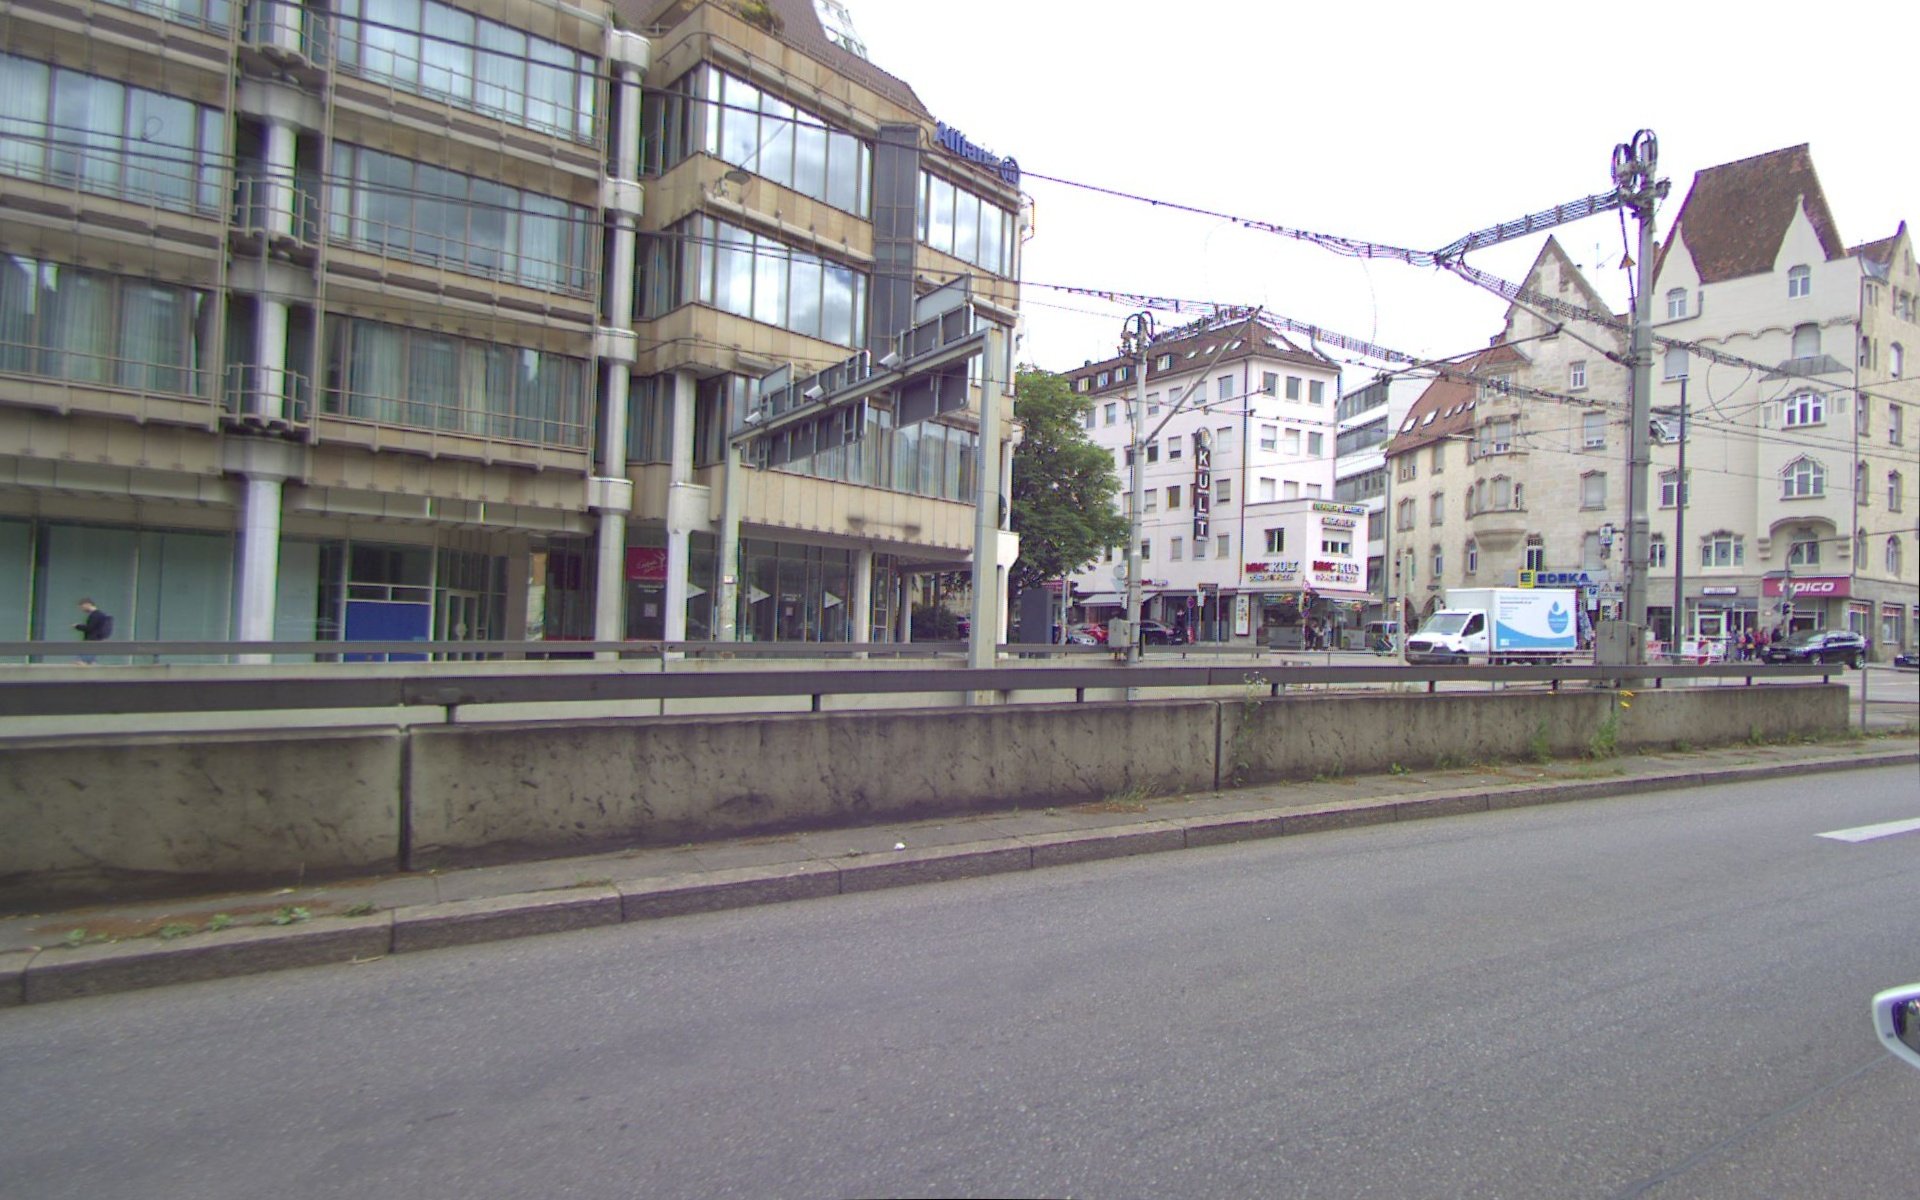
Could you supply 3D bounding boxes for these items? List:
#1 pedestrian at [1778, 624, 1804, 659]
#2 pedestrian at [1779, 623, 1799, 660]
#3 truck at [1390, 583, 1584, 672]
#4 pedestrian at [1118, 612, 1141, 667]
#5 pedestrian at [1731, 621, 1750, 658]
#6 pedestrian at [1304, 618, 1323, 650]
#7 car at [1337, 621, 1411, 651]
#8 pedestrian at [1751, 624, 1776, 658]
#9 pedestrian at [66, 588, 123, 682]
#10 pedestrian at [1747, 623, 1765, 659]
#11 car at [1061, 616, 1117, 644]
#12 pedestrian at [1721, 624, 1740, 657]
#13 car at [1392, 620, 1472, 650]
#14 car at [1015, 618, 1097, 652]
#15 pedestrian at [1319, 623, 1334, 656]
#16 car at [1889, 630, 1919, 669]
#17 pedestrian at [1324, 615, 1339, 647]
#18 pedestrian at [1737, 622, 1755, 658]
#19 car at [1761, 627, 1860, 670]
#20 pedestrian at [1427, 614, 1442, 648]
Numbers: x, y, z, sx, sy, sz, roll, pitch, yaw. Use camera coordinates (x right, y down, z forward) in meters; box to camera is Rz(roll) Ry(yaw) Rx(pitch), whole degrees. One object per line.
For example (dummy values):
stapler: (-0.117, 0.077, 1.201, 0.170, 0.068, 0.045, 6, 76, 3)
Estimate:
pedestrian: (41.514, 2.055, 50.183, 0.712, 1.728, 0.781, 1, -1, -21)
pedestrian: (41.462, 2.077, 50.218, 0.565, 1.803, 0.512, 1, -1, 4)
truck: (19.759, 1.059, 37.602, 7.268, 3.117, 2.262, 2, 0, -23)
pedestrian: (5.685, 1.321, 33.687, 0.569, 1.803, 0.508, 1, -1, -25)
pedestrian: (39.115, 1.972, 50.367, 0.504, 1.803, 0.574, 1, -1, -22)
pedestrian: (19.470, 1.887, 55.352, 0.643, 1.728, 0.781, 1, -1, -21)
car: (25.461, 2.194, 61.894, 1.727, 1.581, 4.497, 2, 0, -17)
pedestrian: (41.562, 2.120, 51.964, 0.643, 1.728, 0.781, 1, -1, -21)
pedestrian: (-17.355, 0.688, 20.158, 0.732, 1.836, 0.726, 2, 0, -32)
pedestrian: (40.283, 2.060, 50.860, 0.569, 1.803, 0.508, 1, -1, -25)
car: (8.267, 1.936, 64.710, 1.632, 1.734, 3.618, 1, -1, -32)
pedestrian: (38.362, 2.017, 49.998, 0.505, 1.603, 0.573, 1, -1, -26)
car: (28.449, 2.106, 60.701, 1.727, 1.581, 4.495, 2, 0, -18)
car: (4.968, 1.801, 52.397, 1.936, 1.550, 3.951, 2, 0, -42)
pedestrian: (20.169, 2.172, 55.312, 0.567, 1.803, 0.510, 1, -1, -15)
car: (40.864, 2.053, 41.689, 4.469, 1.573, 1.654, 1, -1, -22)
pedestrian: (21.171, 1.766, 57.285, 0.588, 1.803, 0.510, 1, -1, -15)
pedestrian: (39.642, 2.032, 50.673, 0.568, 1.803, 0.509, 1, -1, -20)
car: (37.993, 2.180, 44.854, 4.721, 1.782, 1.667, 2, 0, -27)
pedestrian: (25.223, 1.654, 53.425, 0.501, 1.803, 0.577, 1, -1, -1)
